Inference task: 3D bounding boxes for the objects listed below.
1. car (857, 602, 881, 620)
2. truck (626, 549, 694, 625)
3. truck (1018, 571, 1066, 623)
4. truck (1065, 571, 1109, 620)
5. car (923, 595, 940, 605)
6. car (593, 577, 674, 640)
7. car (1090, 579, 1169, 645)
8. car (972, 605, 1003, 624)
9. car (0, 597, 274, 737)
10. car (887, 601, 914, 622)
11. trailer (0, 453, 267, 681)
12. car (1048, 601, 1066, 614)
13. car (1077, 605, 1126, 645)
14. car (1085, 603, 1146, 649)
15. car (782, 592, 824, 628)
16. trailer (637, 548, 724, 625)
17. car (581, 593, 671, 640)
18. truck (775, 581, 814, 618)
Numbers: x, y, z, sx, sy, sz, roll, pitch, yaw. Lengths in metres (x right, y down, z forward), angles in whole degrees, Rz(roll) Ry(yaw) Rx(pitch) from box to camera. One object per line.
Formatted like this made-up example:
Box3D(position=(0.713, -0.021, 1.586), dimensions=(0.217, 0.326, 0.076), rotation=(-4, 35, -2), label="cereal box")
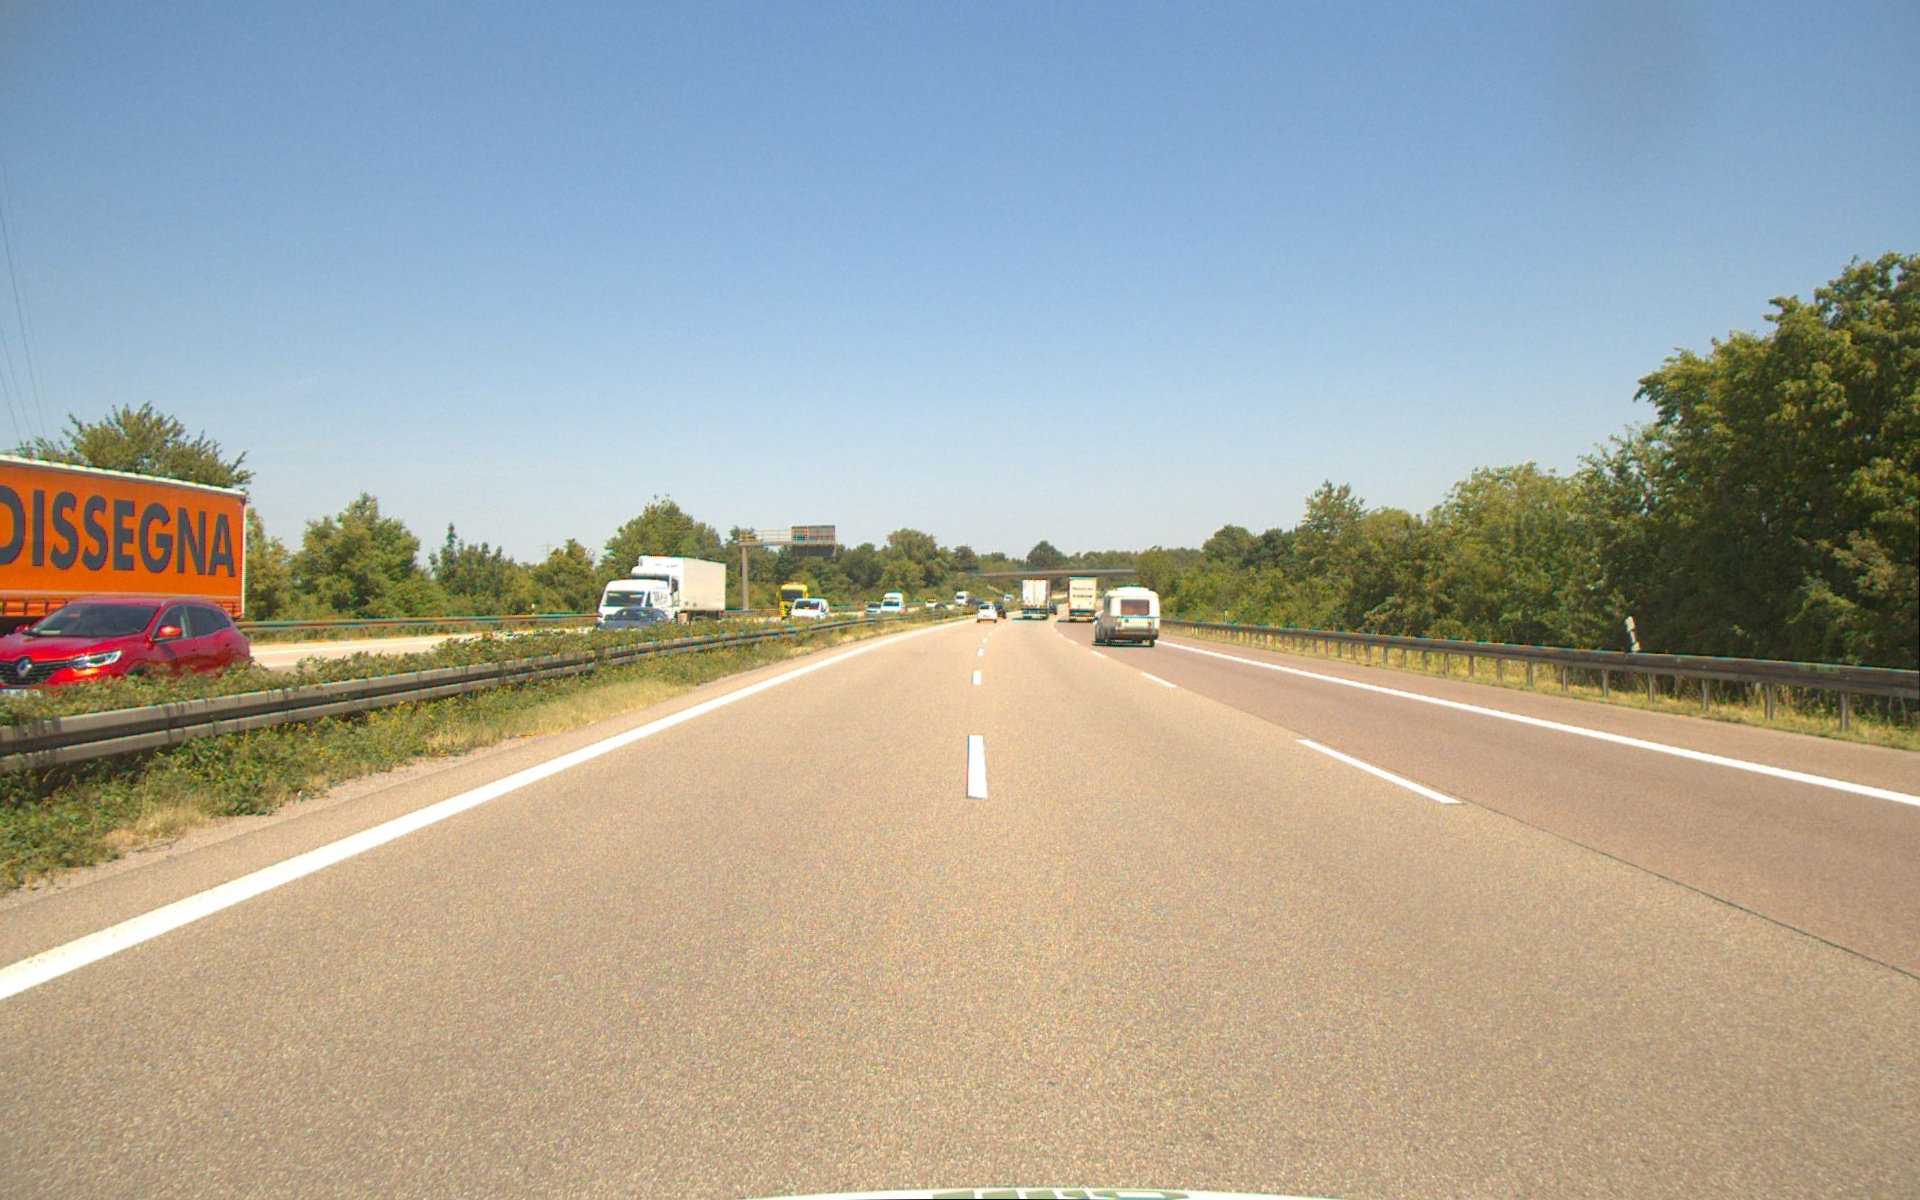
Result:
Box3D(position=(-9.122, 1.080, 165.828), dimensions=(1.952, 1.766, 4.815), rotation=(0, 0, 1), label="car")
Box3D(position=(-16.871, -0.684, 93.304), dimensions=(2.772, 4.153, 5.165), rotation=(1, -1, 1), label="truck")
Box3D(position=(8.555, -0.448, 170.418), dimensions=(3.588, 5.105, 16.031), rotation=(1, 1, 8), label="truck")
Box3D(position=(12.288, -0.556, 158.644), dimensions=(3.113, 4.379, 16.032), rotation=(1, 1, 8), label="truck")
Box3D(position=(-4.337, -0.015, 255.086), dimensions=(1.951, 1.483, 4.091), rotation=(0, 0, 9), label="car")
Box3D(position=(-13.728, 0.348, 69.950), dimensions=(1.952, 2.514, 6.492), rotation=(1, 0, 2), label="car")
Box3D(position=(6.478, 0.399, 63.797), dimensions=(2.393, 2.362, 5.321), rotation=(-1, 1, -1), label="car")
Box3D(position=(2.361, 1.209, 140.647), dimensions=(1.789, 1.574, 4.323), rotation=(1, 1, 12), label="car")
Box3D(position=(-10.534, 0.752, 20.881), dimensions=(1.953, 1.576, 4.447), rotation=(0, 0, -1), label="car")
Box3D(position=(-5.335, 1.022, 149.367), dimensions=(1.952, 1.915, 5.724), rotation=(0, 0, 2), label="car")
Box3D(position=(-18.445, -0.676, 33.907), dimensions=(2.455, 4.113, 13.589), rotation=(1, 1, 1), label="trailer")
Box3D(position=(12.592, 0.943, 214.511), dimensions=(1.789, 1.574, 4.323), rotation=(1, 1, 12), label="car")
Box3D(position=(6.030, 1.037, 70.963), dimensions=(1.847, 1.542, 5.382), rotation=(1, 1, 3), label="car")
Box3D(position=(6.474, 1.045, 69.558), dimensions=(2.003, 1.687, 5.510), rotation=(-1, 1, -1), label="car")
Box3D(position=(-9.125, 0.567, 96.428), dimensions=(1.953, 1.973, 5.338), rotation=(1, 1, 0), label="car")
Box3D(position=(-16.767, -0.683, 100.249), dimensions=(2.776, 4.333, 13.637), rotation=(1, -1, 1), label="trailer")
Box3D(position=(-10.830, 0.507, 53.943), dimensions=(1.952, 1.350, 4.772), rotation=(1, 1, 0), label="car")
Box3D(position=(-14.773, 0.002, 148.248), dimensions=(2.469, 3.207, 9.668), rotation=(0, 0, 1), label="truck")
